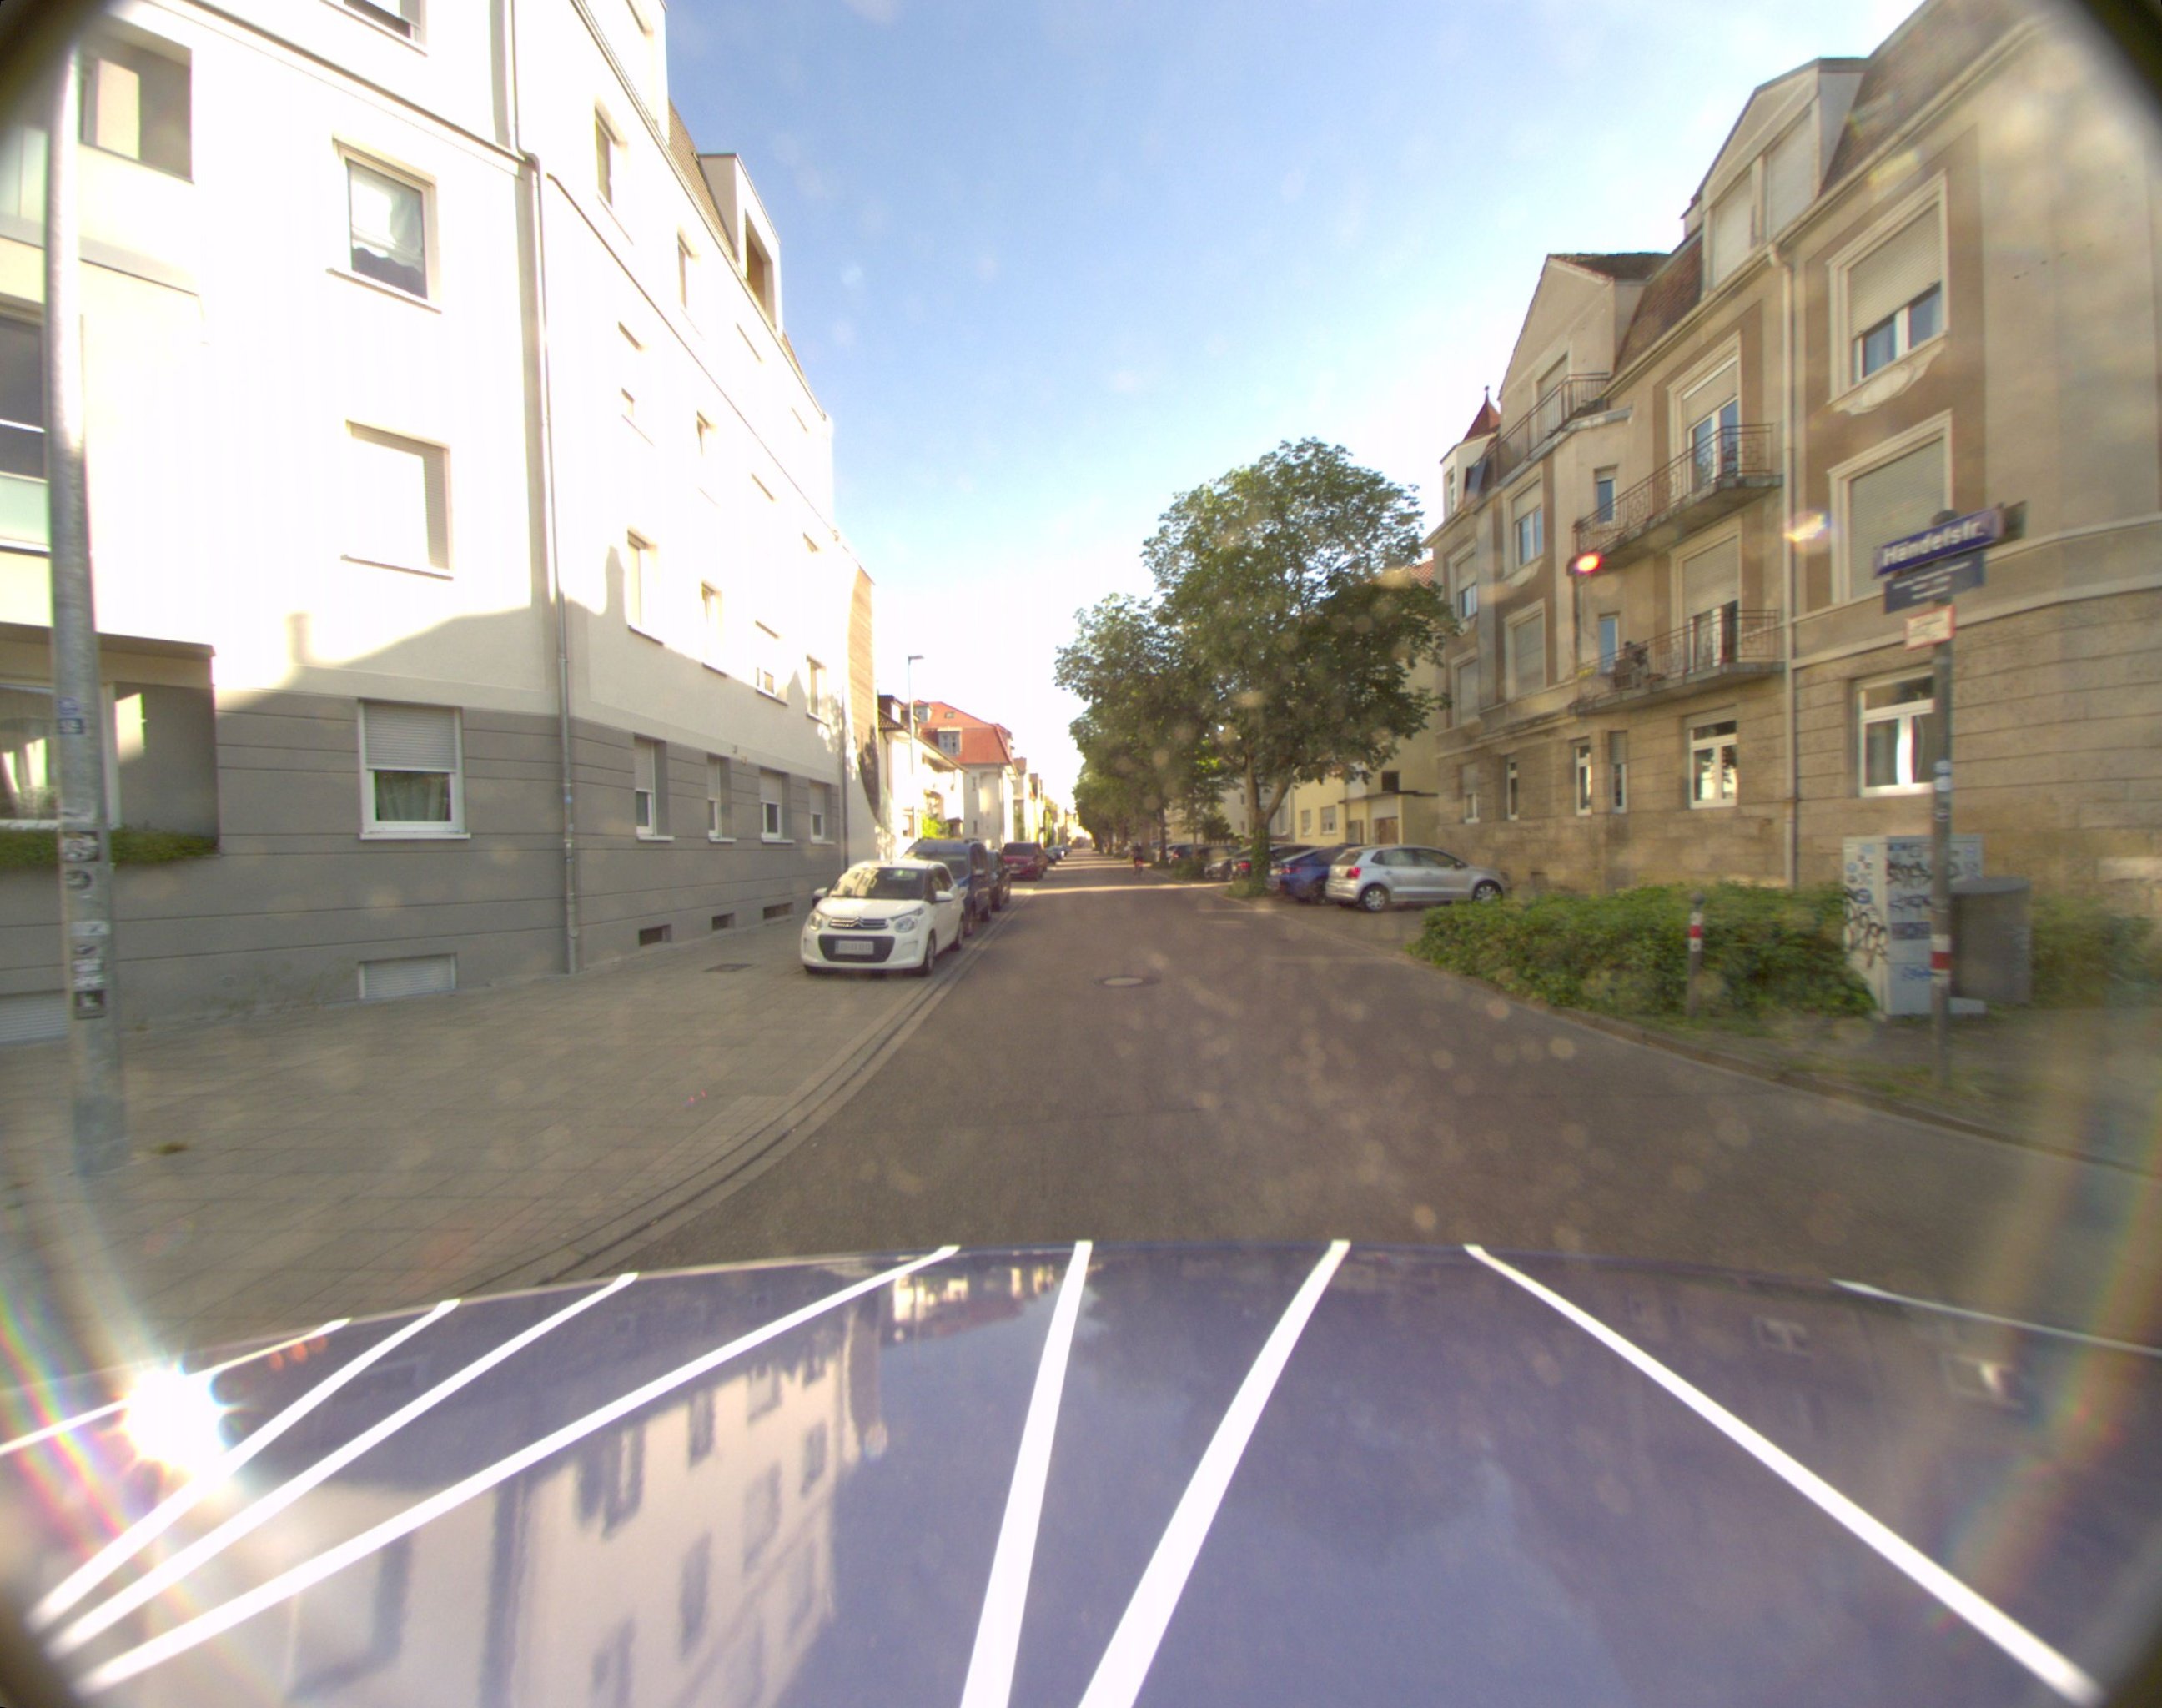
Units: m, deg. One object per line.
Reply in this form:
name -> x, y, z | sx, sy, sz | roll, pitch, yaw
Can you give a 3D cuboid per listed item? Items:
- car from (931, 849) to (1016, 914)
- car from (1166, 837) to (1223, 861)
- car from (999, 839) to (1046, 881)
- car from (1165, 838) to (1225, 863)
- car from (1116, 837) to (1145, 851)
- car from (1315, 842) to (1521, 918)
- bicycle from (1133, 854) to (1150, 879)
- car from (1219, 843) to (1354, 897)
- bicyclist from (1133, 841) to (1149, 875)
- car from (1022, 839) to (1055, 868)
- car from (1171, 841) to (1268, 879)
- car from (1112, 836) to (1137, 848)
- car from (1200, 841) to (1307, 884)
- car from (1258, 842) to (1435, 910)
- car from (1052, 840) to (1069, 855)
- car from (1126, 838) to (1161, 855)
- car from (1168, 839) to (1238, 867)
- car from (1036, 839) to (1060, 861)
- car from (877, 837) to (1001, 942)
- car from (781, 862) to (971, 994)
car -> -2.812, 0.668, 20.686 | 1.665, 1.533, 4.065 | 2, 1, 0
car -> 7.787, -0.324, 52.323 | 3.529, 1.486, 1.691 | -2, 1, -5
car -> -2.799, 0.249, 37.069 | 1.884, 1.860, 4.401 | 2, 1, 0
car -> 7.397, -0.220, 49.606 | 3.529, 1.486, 1.691 | -2, 1, -5
car -> 6.283, -1.263, 97.103 | 3.528, 1.693, 1.692 | -2, 1, -2
car -> 7.384, 0.536, 16.866 | 3.789, 1.436, 1.691 | -2, 1, -3
bicycle -> 2.782, 0.555, 35.311 | 0.644, 1.102, 2.065 | -1, 1, 1
car -> 6.519, 0.474, 24.219 | 3.792, 1.486, 1.690 | -2, 1, -13
bicyclist -> 2.774, 0.183, 35.181 | 0.644, 1.557, 1.042 | -1, 1, 1
car -> -2.827, -0.059, 51.290 | 1.884, 1.860, 4.401 | 2, 1, 0
car -> 6.047, 0.253, 33.393 | 3.792, 1.486, 1.690 | -2, 1, -13
car -> 6.599, -1.778, 115.566 | 3.528, 1.693, 1.692 | -2, 1, -2
car -> 6.871, 0.312, 30.416 | 3.792, 1.486, 1.690 | -2, 1, -13
car -> 6.573, 0.511, 19.046 | 3.789, 1.486, 1.691 | -2, 1, -3
car -> -2.514, -0.779, 92.950 | 1.884, 1.734, 4.401 | -1, 1, 0
car -> 6.726, -0.831, 81.765 | 3.528, 1.693, 1.692 | -2, 1, -2
car -> 7.197, -0.076, 45.031 | 3.790, 1.486, 1.691 | -2, 1, -5
car -> -2.839, -0.353, 66.517 | 1.884, 1.860, 4.401 | -1, 1, 0
car -> -2.751, 0.608, 15.609 | 1.665, 1.825, 4.256 | 2, 1, 0
car -> -2.687, 0.892, 10.821 | 1.665, 1.440, 3.687 | 2, 1, 0
